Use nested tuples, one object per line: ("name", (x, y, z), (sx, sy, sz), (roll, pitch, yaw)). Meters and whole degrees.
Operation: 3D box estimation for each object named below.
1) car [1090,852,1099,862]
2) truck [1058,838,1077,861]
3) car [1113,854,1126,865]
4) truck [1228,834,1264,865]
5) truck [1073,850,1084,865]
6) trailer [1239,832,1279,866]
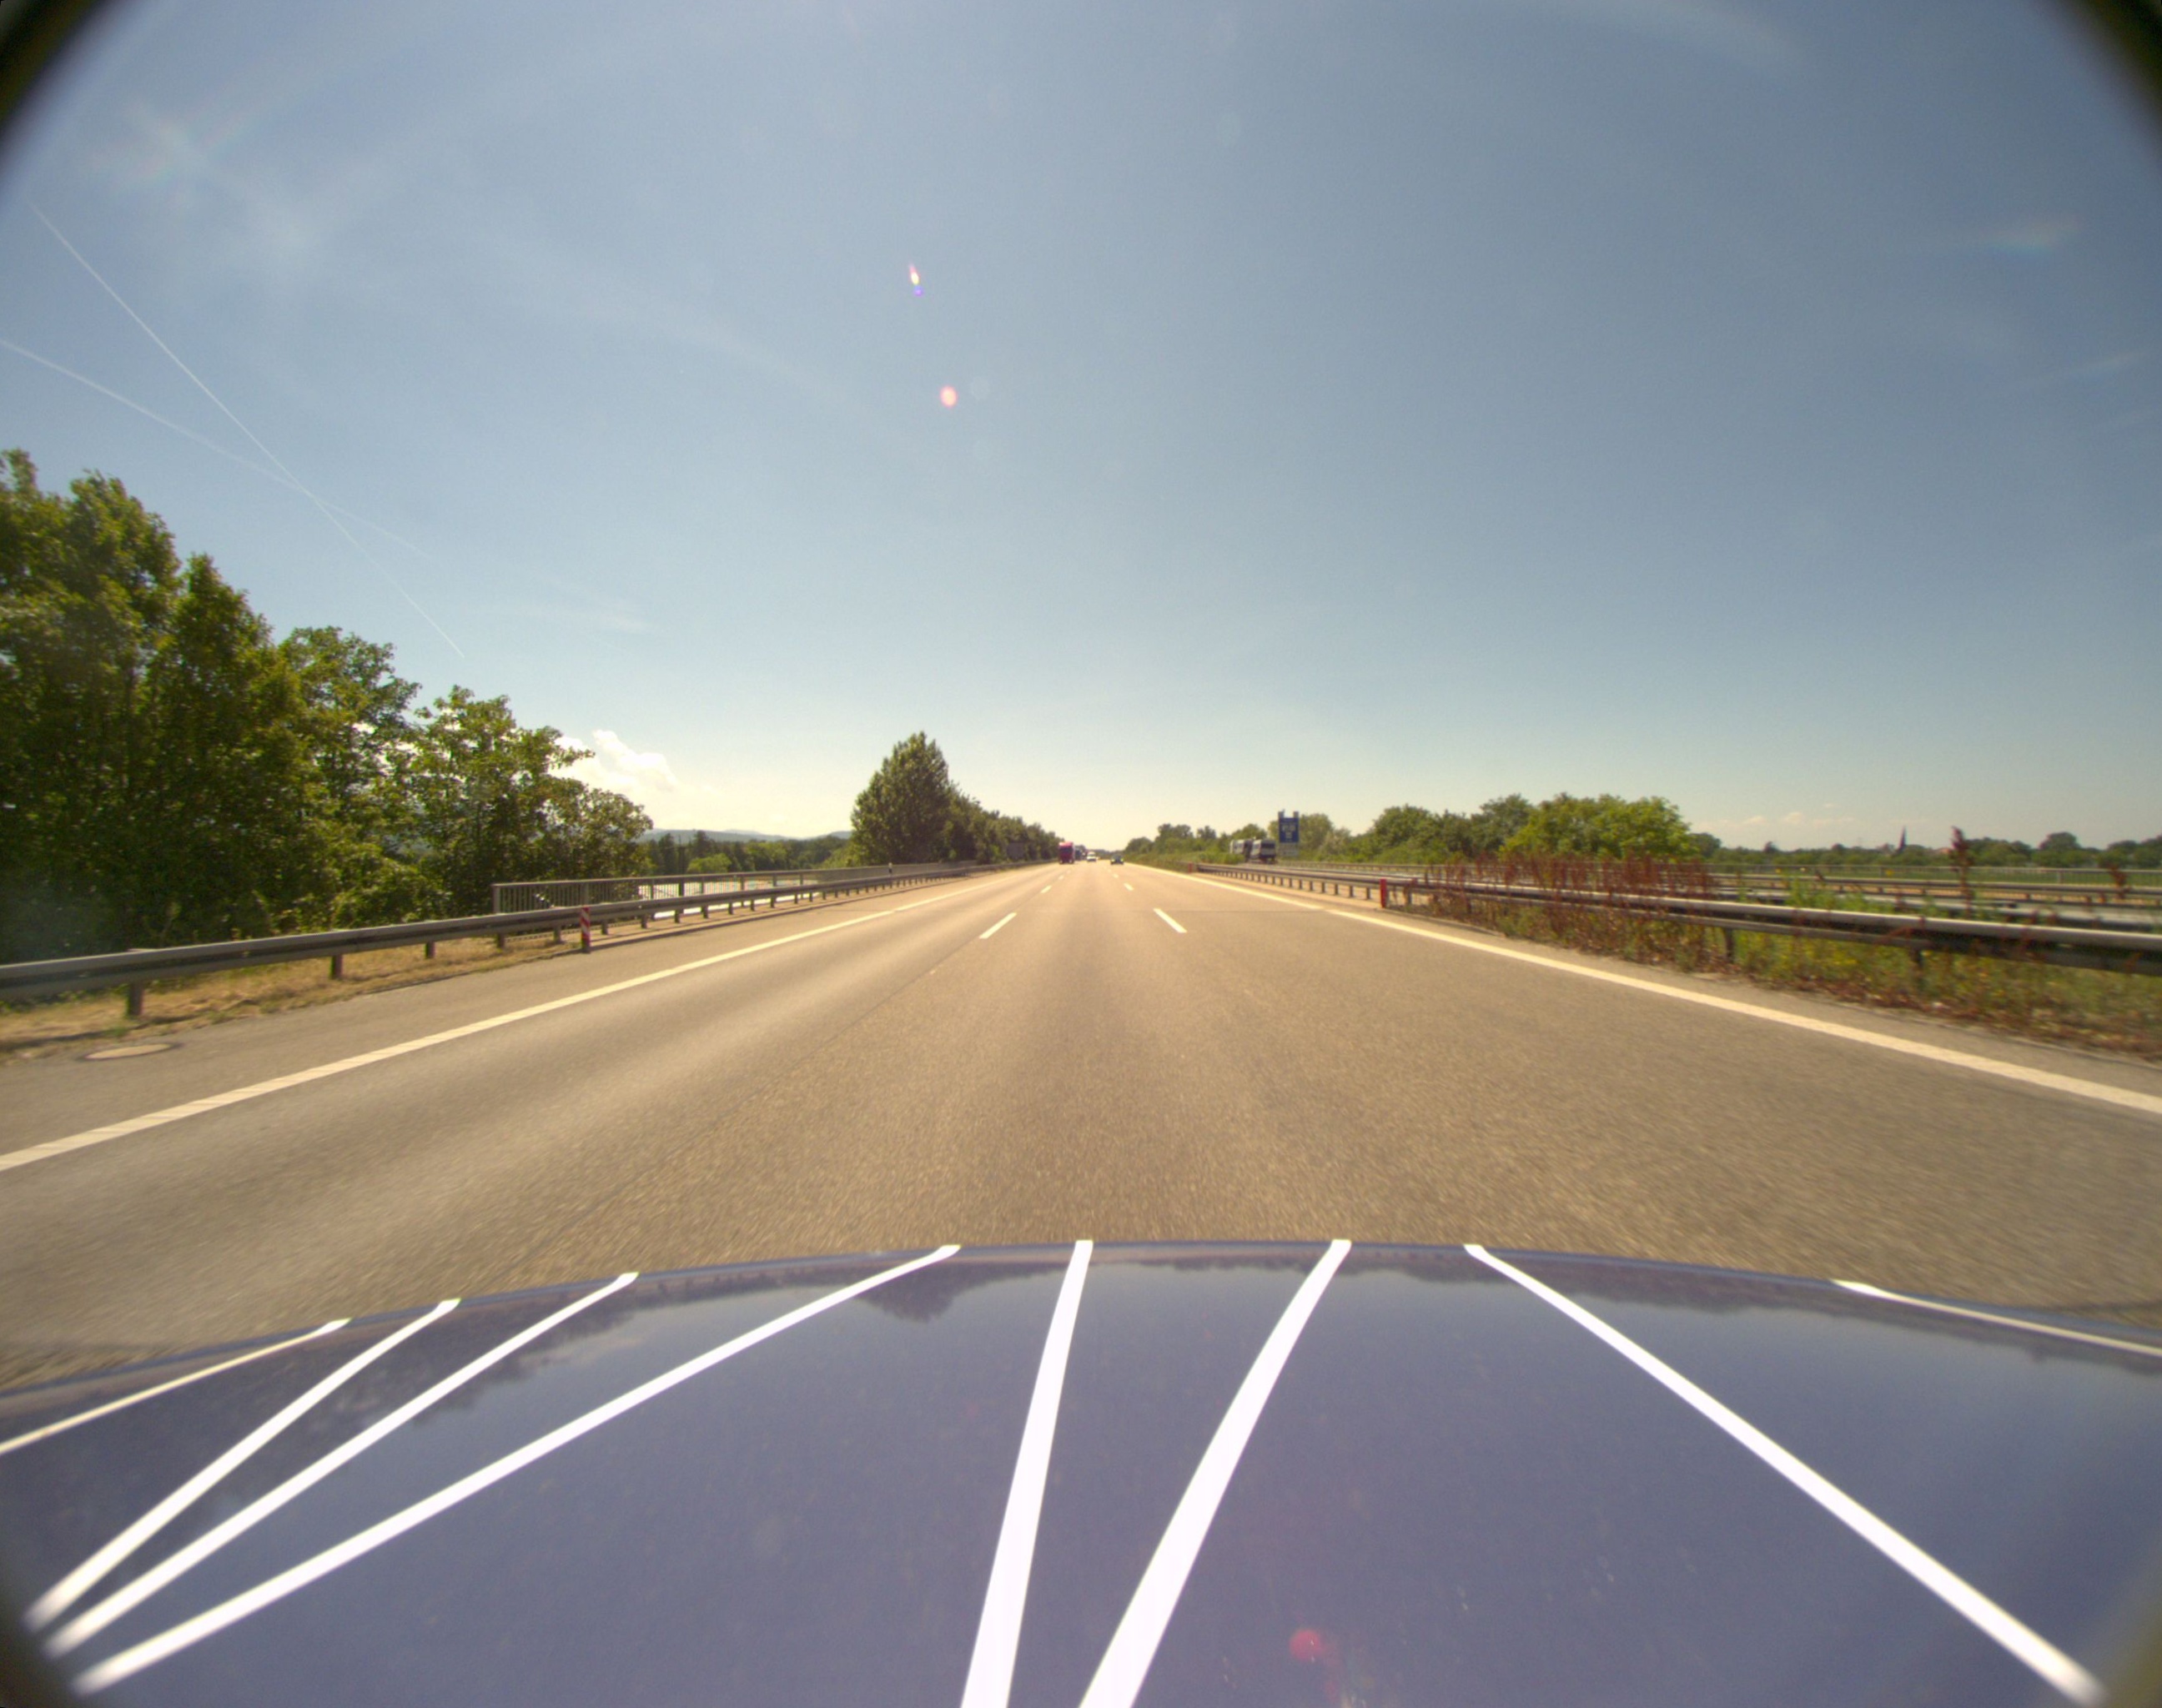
("car", (2.897, 0.571, 163.415), (1.998, 2.002, 4.756), (-2, 0, 1))
("truck", (-2.425, -0.854, 140.356), (2.938, 3.933, 10.260), (-2, 0, 1))
("car", (5.476, 0.755, 108.006), (1.736, 1.433, 4.000), (-2, 0, 1))
("truck", (22.704, -0.603, 105.025), (2.924, 3.967, 9.624), (-2, 0, 1))
("truck", (-0.696, 0.991, 234.265), (2.938, 4.429, 10.260), (-2, 0, 1))
("trailer", (22.457, -0.601, 96.306), (2.932, 3.967, 9.660), (-2, 0, 2))
